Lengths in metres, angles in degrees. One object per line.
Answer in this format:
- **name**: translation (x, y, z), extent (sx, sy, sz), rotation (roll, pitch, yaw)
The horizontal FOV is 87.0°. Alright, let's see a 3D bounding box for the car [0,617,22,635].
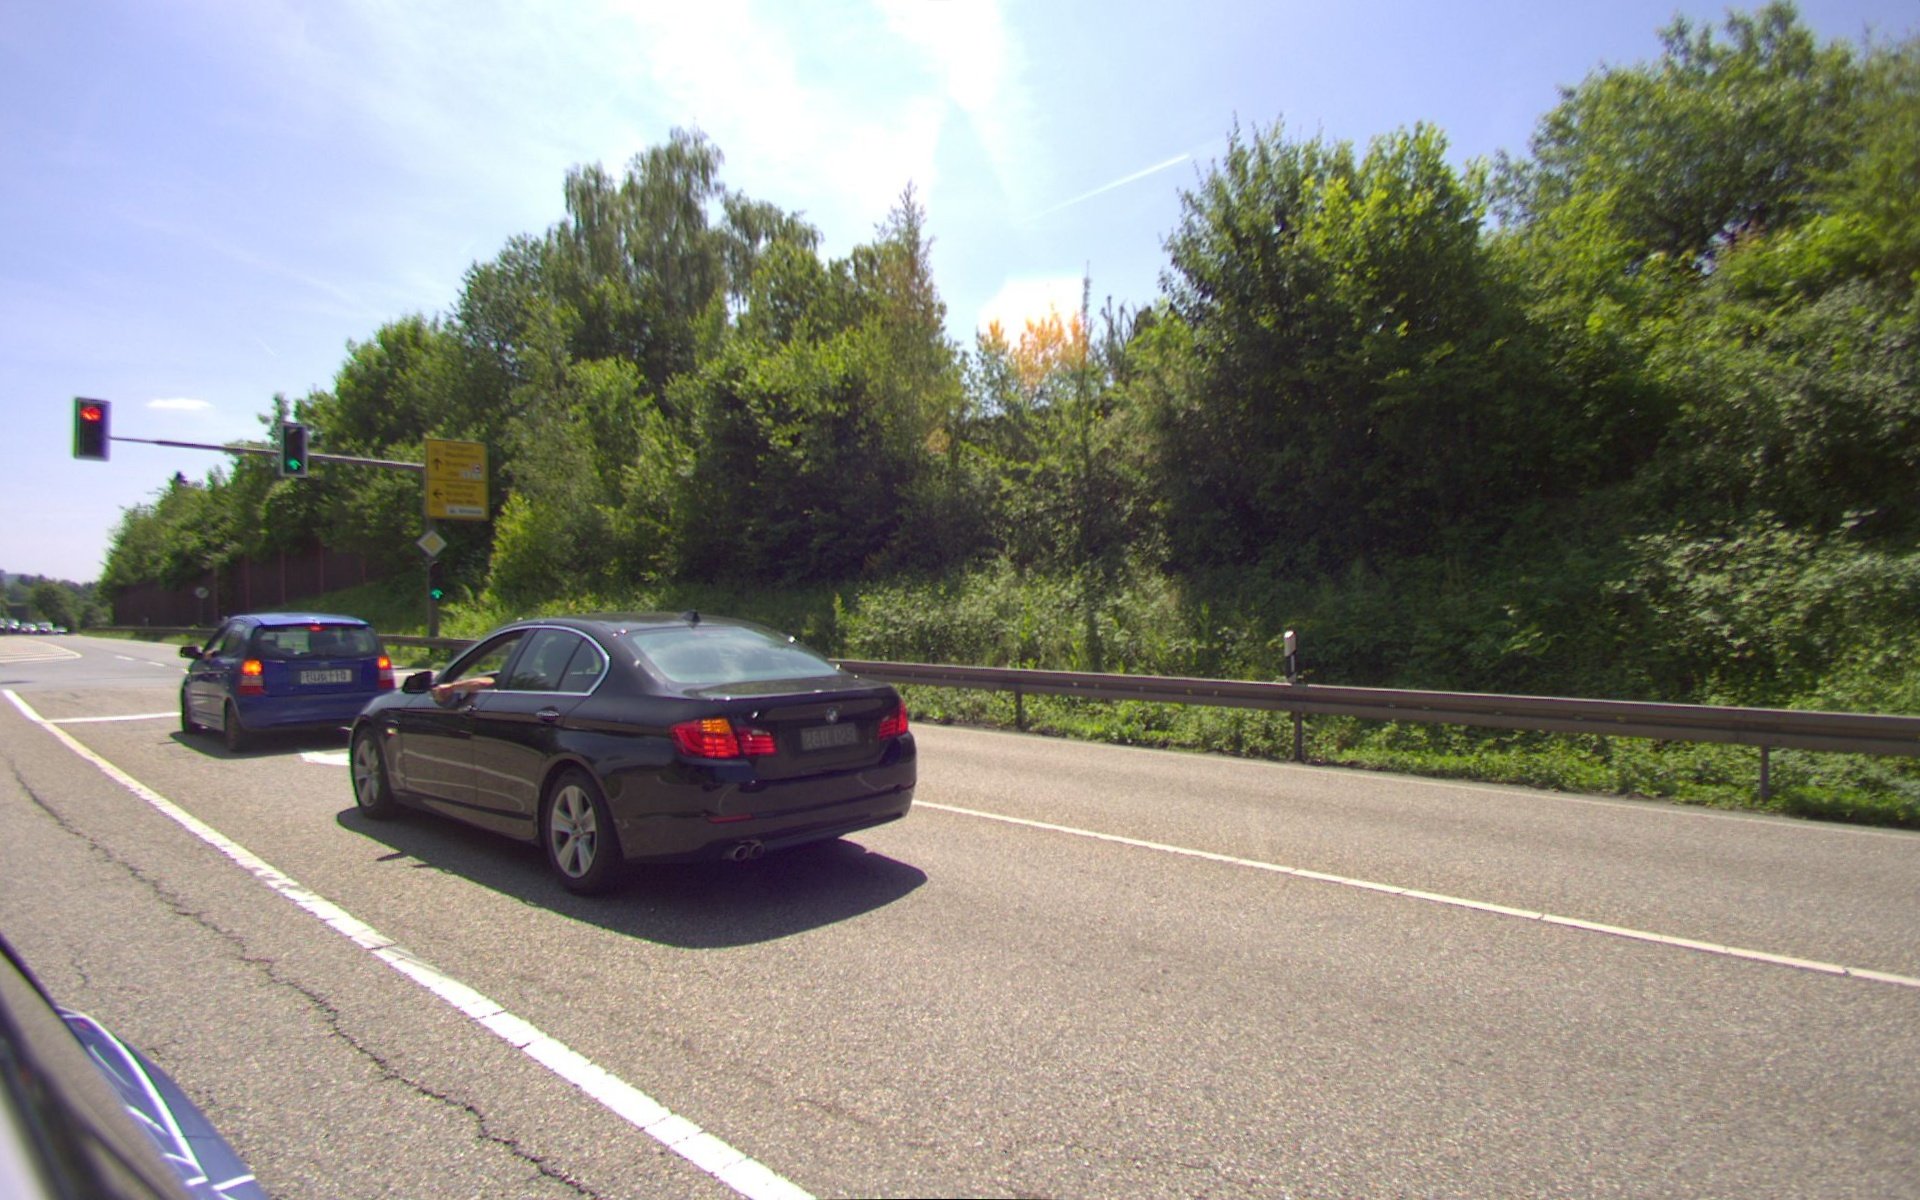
- **car**: translation (-98.751, 2.698, 105.064), extent (1.970, 1.780, 4.004), rotation (-1, 0, -43)

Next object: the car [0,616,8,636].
- **car**: translation (-90.746, 2.457, 95.016), extent (1.970, 1.780, 4.004), rotation (-1, 0, -43)

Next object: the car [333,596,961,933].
- **car**: translation (-2.311, 0.746, 6.587), extent (4.638, 1.458, 1.763), rotation (-1, -1, 41)

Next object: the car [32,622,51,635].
- **car**: translation (-132.796, 4.115, 146.269), extent (1.970, 1.780, 4.004), rotation (-1, 0, -43)

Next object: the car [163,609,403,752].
- **car**: translation (-8.227, 0.852, 12.173), extent (3.769, 1.451, 1.550), rotation (-1, -1, 42)
